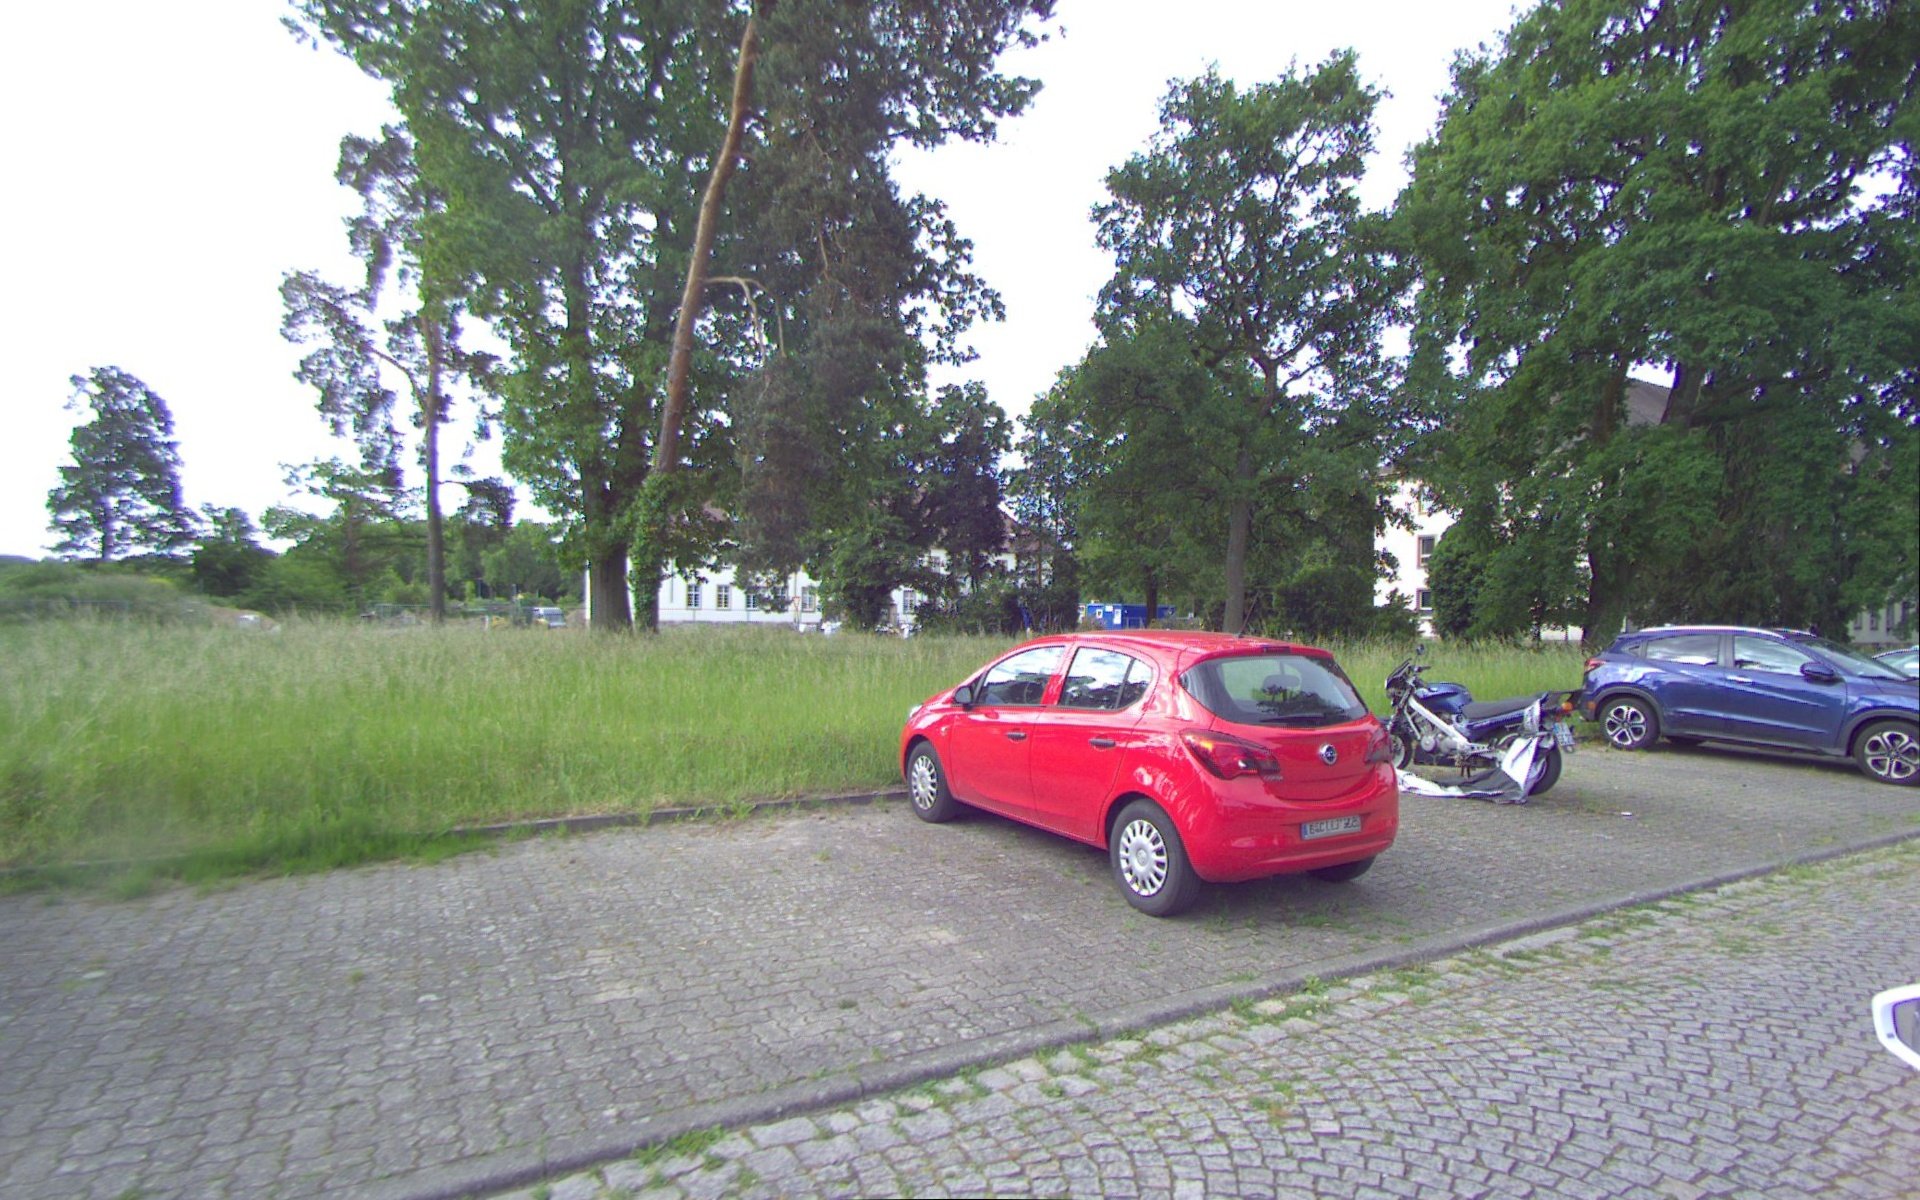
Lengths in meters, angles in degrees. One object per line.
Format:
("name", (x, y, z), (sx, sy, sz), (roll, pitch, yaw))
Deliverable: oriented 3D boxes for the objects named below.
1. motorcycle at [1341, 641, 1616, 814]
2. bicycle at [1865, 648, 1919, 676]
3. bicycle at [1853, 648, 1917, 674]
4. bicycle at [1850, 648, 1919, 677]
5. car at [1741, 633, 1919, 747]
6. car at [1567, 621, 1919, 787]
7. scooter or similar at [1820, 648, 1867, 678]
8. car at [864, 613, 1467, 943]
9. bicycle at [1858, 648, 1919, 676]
("motorcycle", (4.740, 1.092, 9.407), (0.710, 1.309, 2.264), (1, 0, -28))
("bicycle", (36.565, 2.407, 39.104), (0.622, 1.002, 1.941), (2, -1, -40))
("bicycle", (38.066, 2.503, 41.357), (1.937, 1.002, 0.623), (0, -2, 44))
("bicycle", (33.885, 2.282, 36.717), (1.931, 1.002, 0.625), (0, -1, 34))
("car", (13.971, 1.288, 14.134), (1.950, 1.480, 4.285), (1, 0, -28))
("car", (9.853, 1.105, 11.885), (1.865, 1.598, 4.206), (1, 0, -31))
("scooter or similar", (32.677, 2.313, 37.172), (0.445, 1.052, 1.351), (1, -1, -8))
("car", (1.051, 0.875, 6.947), (1.883, 1.545, 4.034), (1, -1, -31))
("bicycle", (35.531, 2.360, 38.224), (1.931, 1.002, 0.625), (0, -1, 34))
